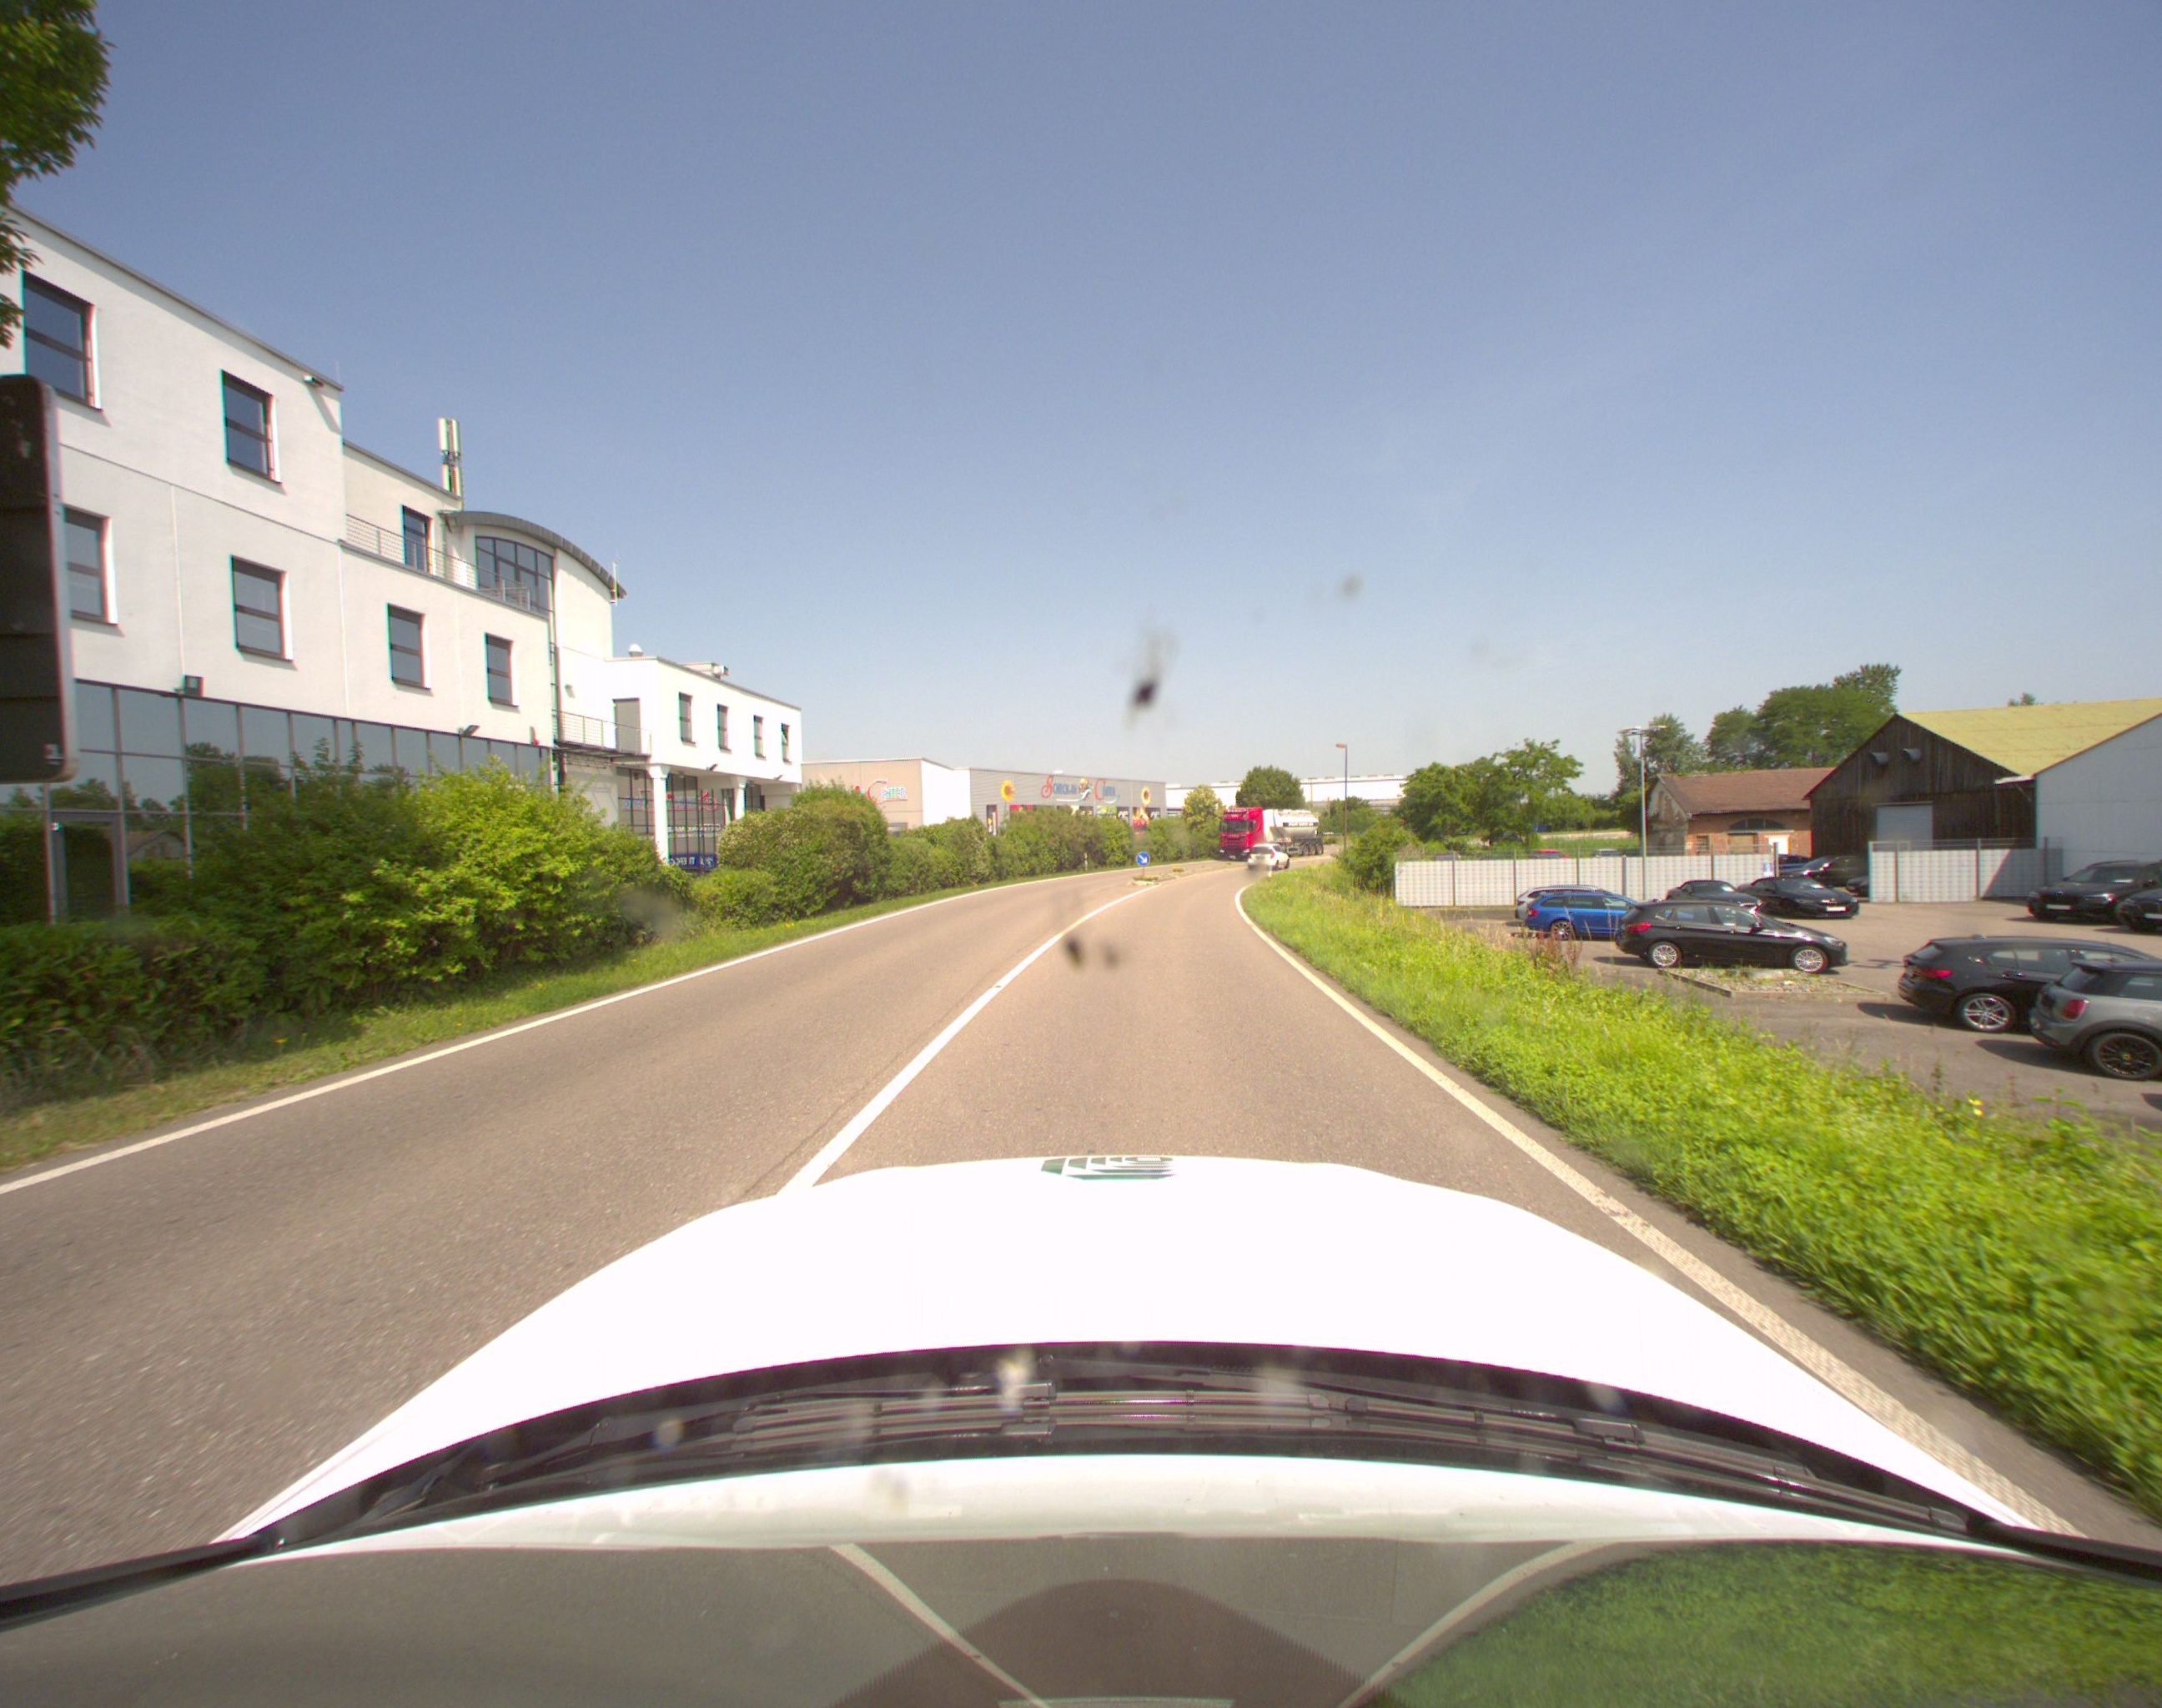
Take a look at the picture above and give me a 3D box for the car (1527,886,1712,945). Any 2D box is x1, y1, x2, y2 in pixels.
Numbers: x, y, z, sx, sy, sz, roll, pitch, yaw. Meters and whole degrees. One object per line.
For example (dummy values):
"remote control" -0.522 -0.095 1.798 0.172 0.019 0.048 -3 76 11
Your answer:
"car" 16.411 1.819 25.076 4.584 1.498 1.868 -1 2 31

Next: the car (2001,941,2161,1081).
"car" 14.790 2.044 10.149 4.096 1.493 1.843 0 1 36

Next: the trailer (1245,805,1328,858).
"trailer" 17.020 -1.757 66.930 2.852 4.030 8.749 -1 0 42

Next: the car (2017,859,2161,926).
"car" 31.700 1.136 25.058 4.326 1.804 1.991 -1 1 -12

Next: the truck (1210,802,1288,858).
"truck" 12.854 -1.734 61.965 2.854 4.030 6.763 -1 0 40

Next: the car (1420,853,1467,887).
"car" 22.535 0.965 50.796 1.979 2.014 4.015 -1 0 13

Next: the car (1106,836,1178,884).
"car" 2.758 0.247 36.185 1.976 2.014 4.022 -1 0 23

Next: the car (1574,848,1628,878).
"car" 36.464 0.632 57.259 1.979 2.014 4.015 -1 0 13

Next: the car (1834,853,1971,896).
"car" 34.565 0.852 34.381 3.709 1.750 1.681 -1 0 16

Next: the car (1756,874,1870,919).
"car" 26.316 1.485 29.451 1.975 1.398 4.023 -1 0 25

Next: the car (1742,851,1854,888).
"car" 34.516 0.743 39.328 3.707 1.750 1.682 -1 0 19

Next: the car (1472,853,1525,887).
"car" 25.590 0.939 50.009 1.979 2.014 4.015 -1 0 13

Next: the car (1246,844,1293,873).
"car" 11.482 0.288 49.543 1.765 1.603 3.916 5 1 27

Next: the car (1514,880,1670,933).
"car" 17.666 1.760 28.274 4.318 1.502 1.854 0 1 43

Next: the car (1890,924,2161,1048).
"car" 15.427 2.001 12.606 3.984 1.442 1.785 0 2 40

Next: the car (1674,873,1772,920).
"car" 23.846 1.519 30.444 1.833 1.534 4.670 -1 0 25

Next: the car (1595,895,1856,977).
"car" 15.044 1.850 19.391 4.585 1.605 1.868 -1 0 28

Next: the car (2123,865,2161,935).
"car" 30.926 1.206 21.877 4.326 1.804 1.904 -1 1 -12
